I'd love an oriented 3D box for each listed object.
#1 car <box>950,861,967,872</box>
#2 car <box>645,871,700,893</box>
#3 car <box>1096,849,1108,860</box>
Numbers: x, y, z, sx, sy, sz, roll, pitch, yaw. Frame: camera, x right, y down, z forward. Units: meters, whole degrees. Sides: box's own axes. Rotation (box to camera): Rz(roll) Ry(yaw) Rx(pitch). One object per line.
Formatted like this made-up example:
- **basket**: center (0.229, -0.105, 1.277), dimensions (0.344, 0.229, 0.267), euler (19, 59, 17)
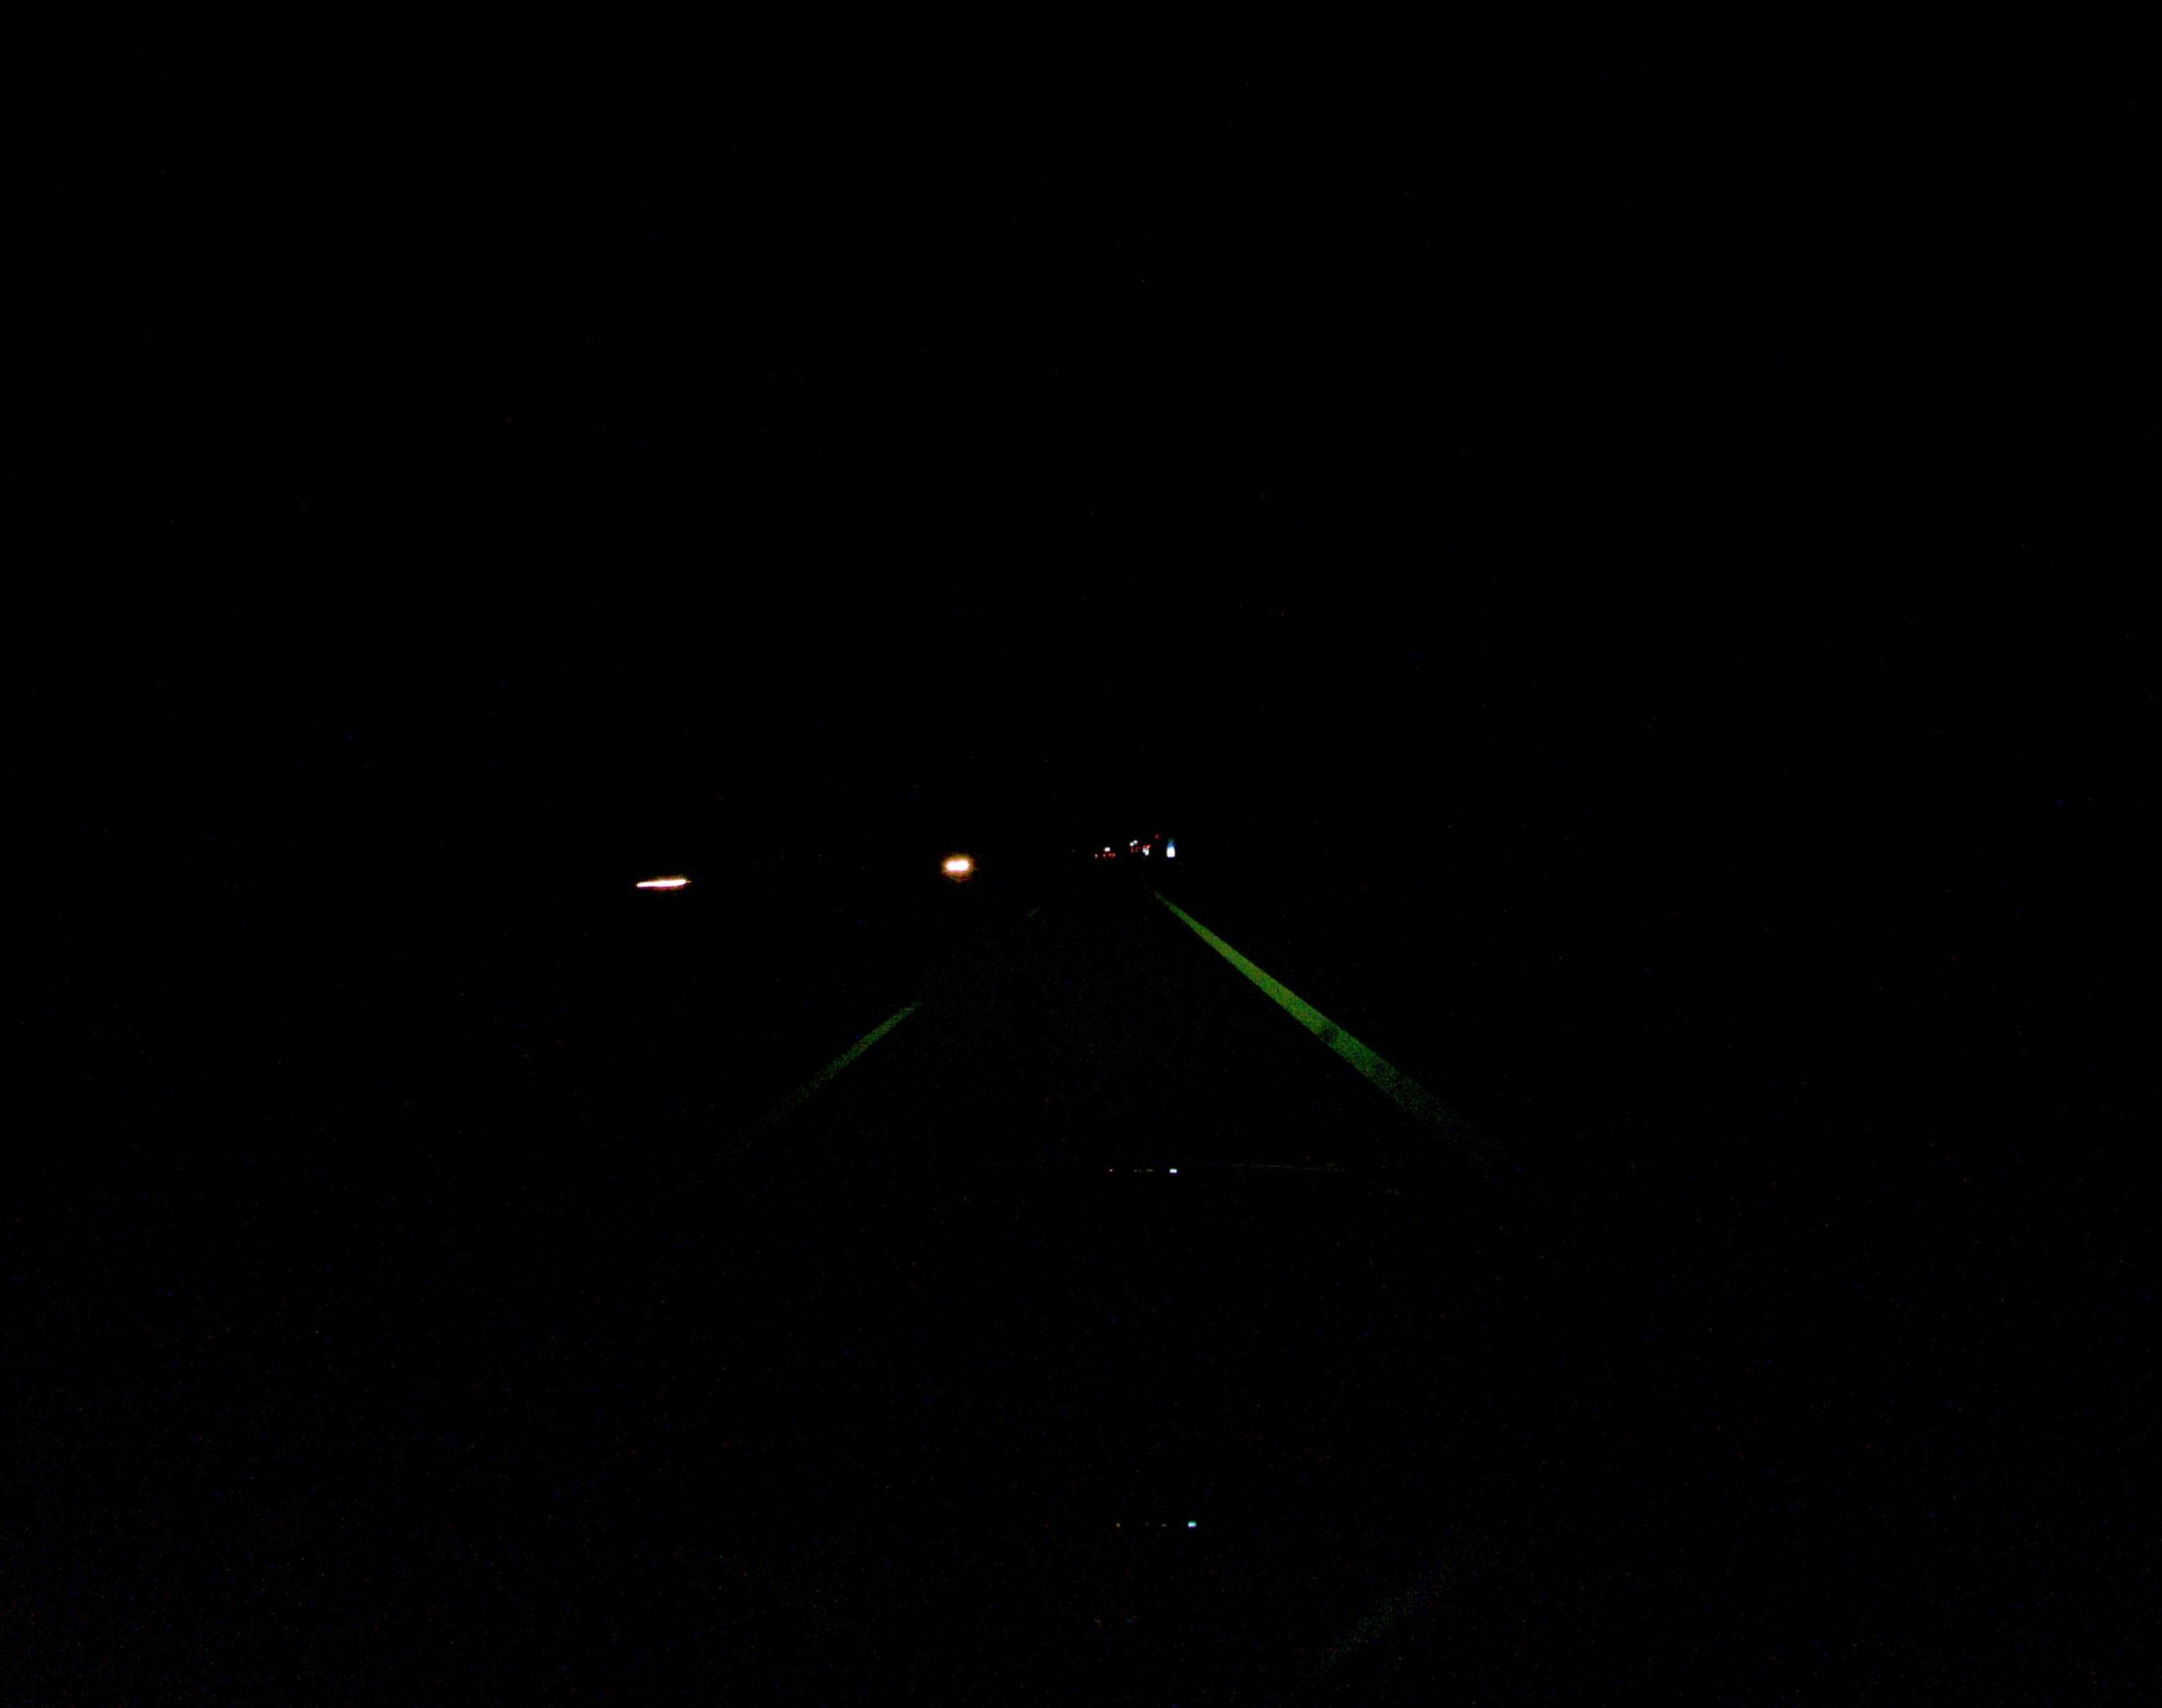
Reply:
- **car**: center (-15.506, 1.529, 102.918), dimensions (1.587, 1.264, 3.998), euler (-1, 0, -1)
- **car**: center (-26.484, 1.802, 52.902), dimensions (1.587, 1.264, 3.998), euler (-1, 0, -1)
- **car**: center (4.587, 0.035, 180.361), dimensions (2.501, 2.314, 4.973), euler (-1, 0, 2)
